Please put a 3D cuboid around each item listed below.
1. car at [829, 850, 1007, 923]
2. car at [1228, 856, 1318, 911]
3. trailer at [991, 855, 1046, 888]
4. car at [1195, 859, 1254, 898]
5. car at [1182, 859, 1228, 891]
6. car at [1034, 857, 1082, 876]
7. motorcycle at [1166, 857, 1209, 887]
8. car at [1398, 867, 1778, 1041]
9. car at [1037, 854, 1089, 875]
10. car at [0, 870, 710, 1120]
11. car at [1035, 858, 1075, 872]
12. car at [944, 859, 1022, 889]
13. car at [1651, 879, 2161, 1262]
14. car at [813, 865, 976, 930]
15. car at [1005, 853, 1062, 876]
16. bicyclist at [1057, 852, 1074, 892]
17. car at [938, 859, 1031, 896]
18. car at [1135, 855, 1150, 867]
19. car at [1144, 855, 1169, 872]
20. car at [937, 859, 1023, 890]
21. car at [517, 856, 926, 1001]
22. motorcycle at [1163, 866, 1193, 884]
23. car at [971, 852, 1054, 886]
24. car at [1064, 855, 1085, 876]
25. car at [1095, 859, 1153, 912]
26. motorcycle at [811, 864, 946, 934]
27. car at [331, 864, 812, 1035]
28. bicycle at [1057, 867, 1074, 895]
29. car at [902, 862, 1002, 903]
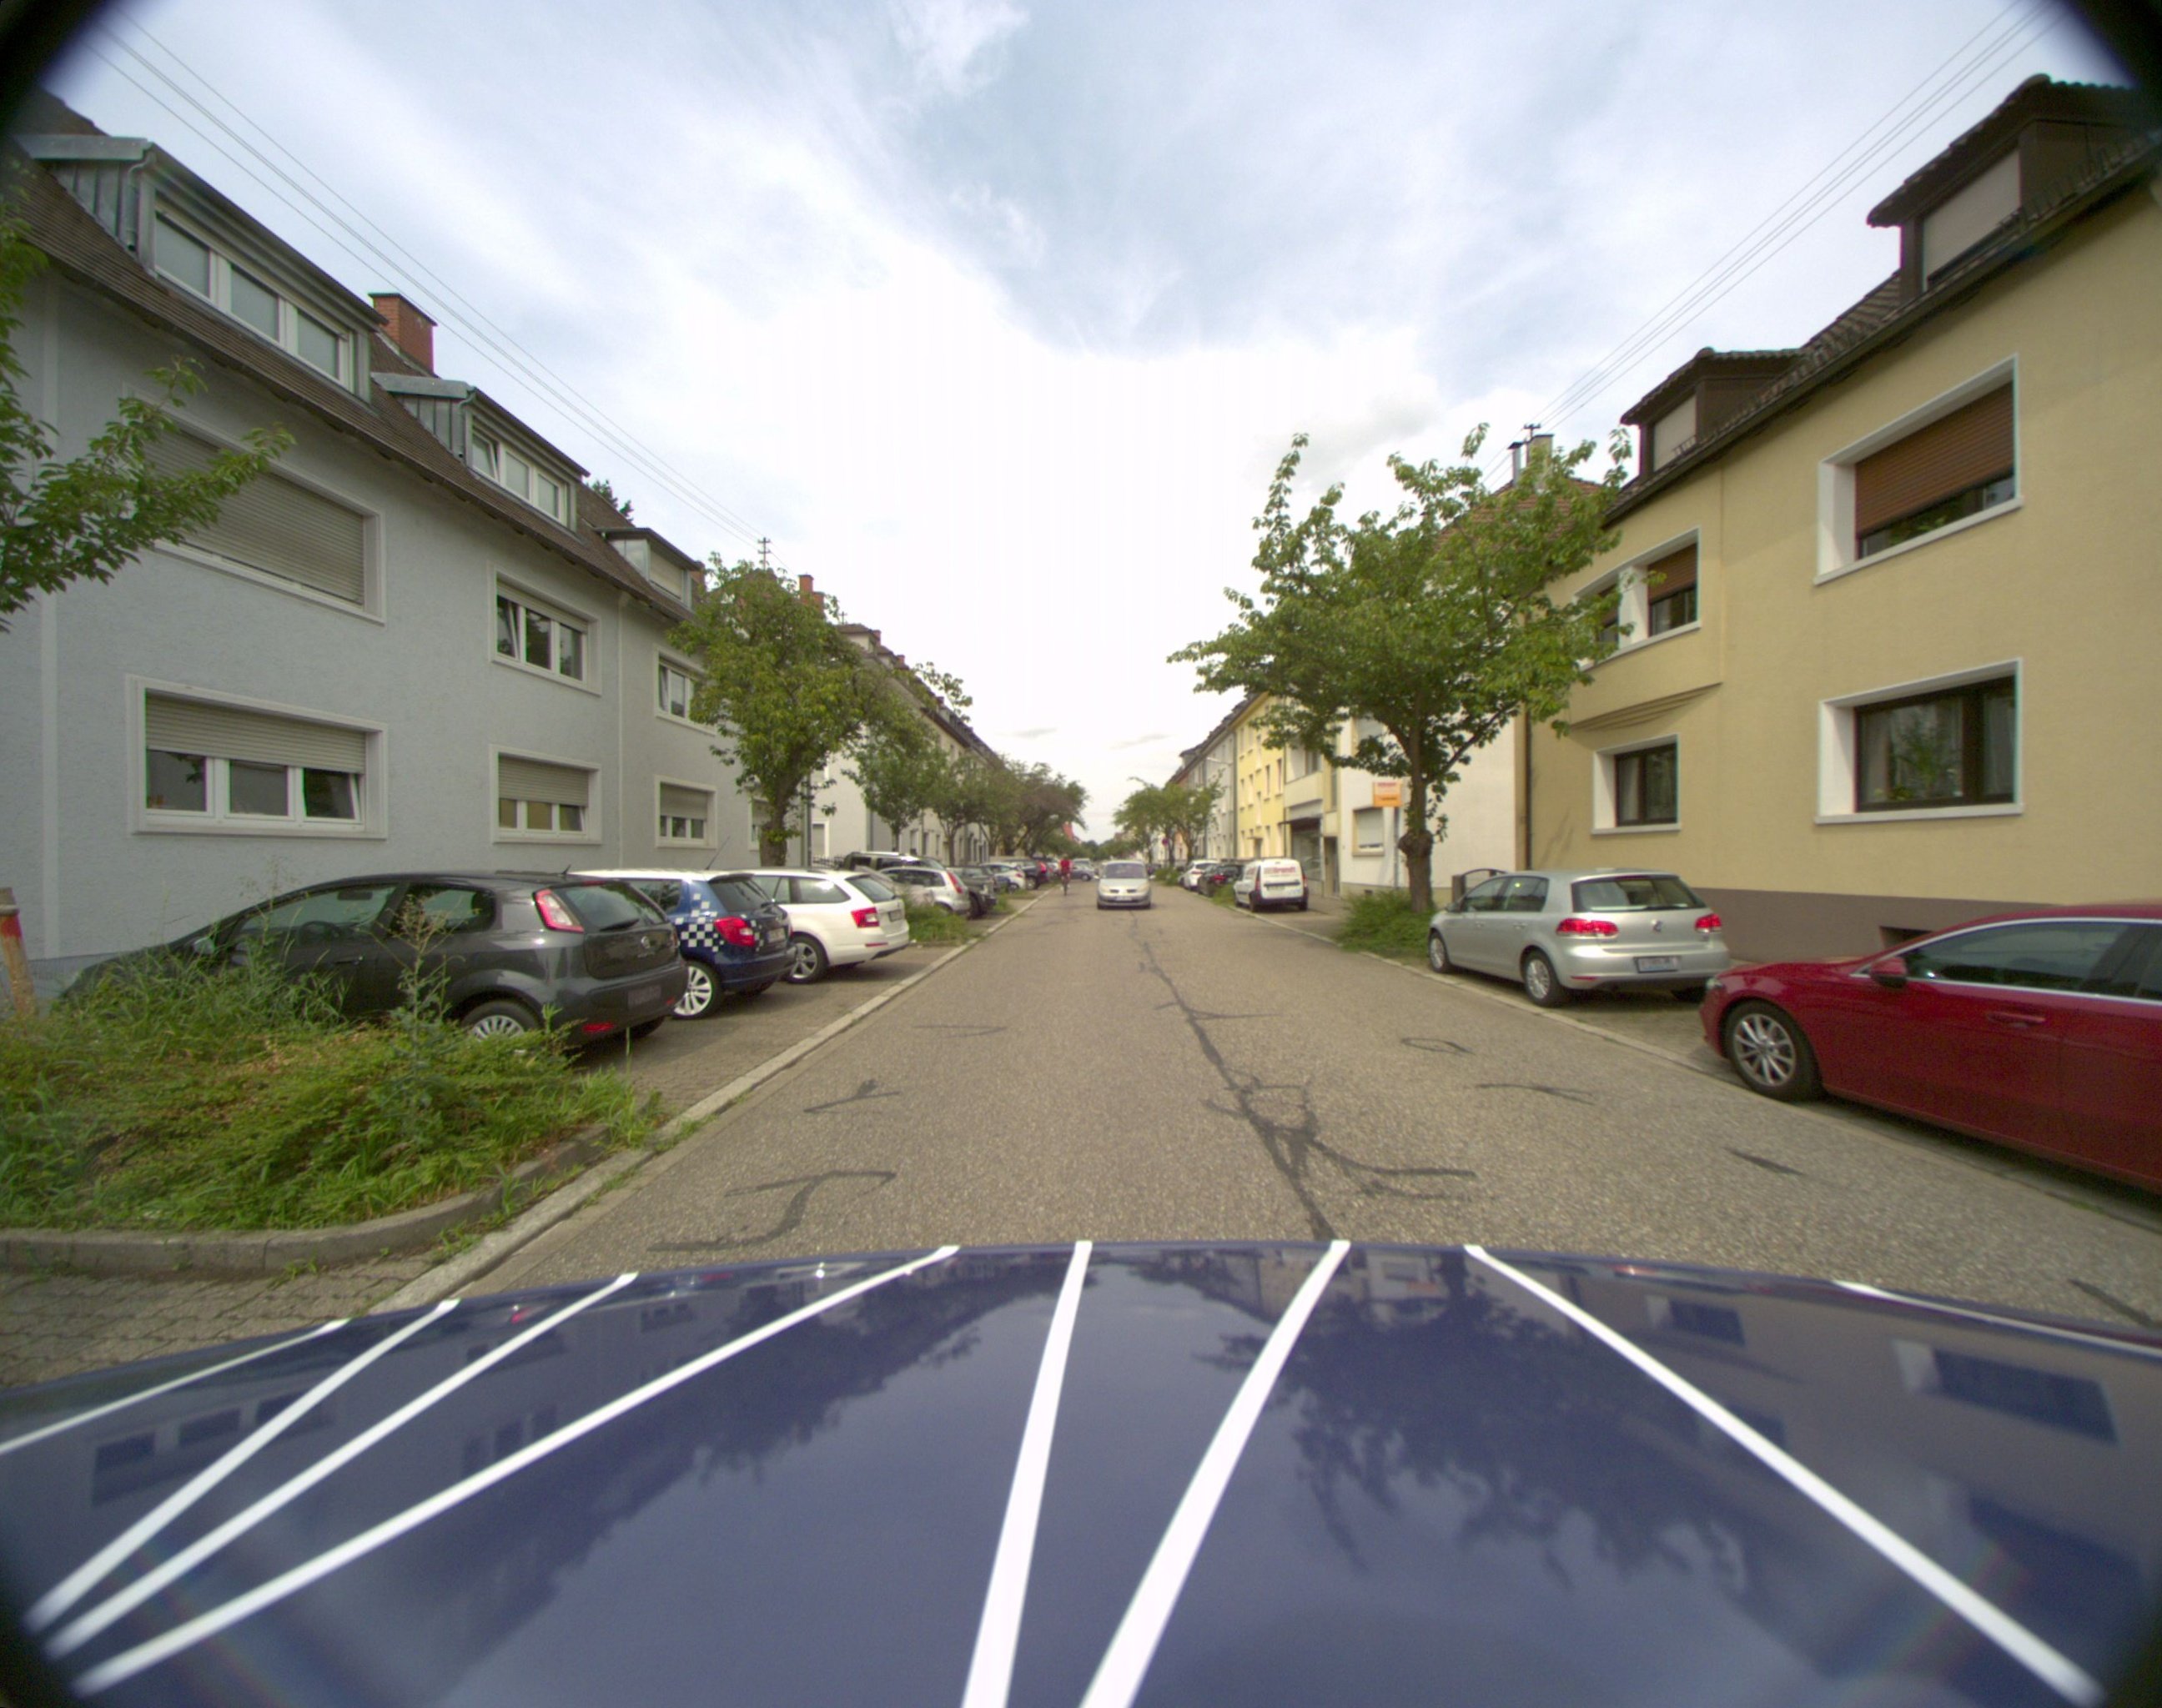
[{"bbox_3d":[-4.512,0.873,21.434,4.535,1.847,1.793,1,0,4],"label":"car"},{"bbox_3d":[6.172,0.885,24.930,1.923,1.572,4.382,1,0,2],"label":"car"},{"bbox_3d":[-3.637,0.991,44.458,2.967,1.820,1.401,1,0,5],"label":"trailer"},{"bbox_3d":[6.146,0.998,33.018,1.795,1.483,4.812,-1,0,2],"label":"car"},{"bbox_3d":[6.387,1.047,39.465,1.761,1.547,4.256,0,0,1],"label":"car"},{"bbox_3d":[-1.921,1.046,64.206,3.997,1.527,1.638,1,0,1],"label":"car"},{"bbox_3d":[6.154,1.031,43.954,0.941,1.666,2.467,1,-1,-42],"label":"motorcycle"},{"bbox_3d":[5.632,0.976,9.250,1.776,1.384,4.275,-6,0,2],"label":"car"},{"bbox_3d":[-1.913,1.083,78.788,5.243,2.011,2.073,1,0,-3],"label":"car"},{"bbox_3d":[-5.300,0.941,5.868,3.996,1.499,1.712,1,0,1],"label":"car"},{"bbox_3d":[-2.999,1.302,88.218,4.558,1.501,1.850,1,0,-1],"label":"car"},{"bbox_3d":[-5.065,1.013,39.582,3.756,1.433,1.865,1,0,2],"label":"car"},{"bbox_3d":[5.394,0.955,3.706,1.881,1.477,4.512,1,0,1],"label":"car"},{"bbox_3d":[-4.544,1.047,18.939,3.635,1.446,1.772,1,0,-2],"label":"car"},{"bbox_3d":[-3.688,0.818,59.813,4.224,1.668,1.904,1,0,4],"label":"car"},{"bbox_3d":[-0.708,0.818,35.022,0.694,1.760,0.986,-1,0,1],"label":"bicyclist"},{"bbox_3d":[-4.343,1.043,34.639,3.997,1.521,1.768,1,0,-1],"label":"car"},{"bbox_3d":[8.566,0.929,106.005,1.697,1.573,4.249,-1,0,0],"label":"car"},{"bbox_3d":[7.295,0.914,73.815,1.841,1.475,4.120,-3,0,0],"label":"car"},{"bbox_3d":[-4.905,1.001,37.410,3.997,1.402,1.768,1,0,-1],"label":"car"},{"bbox_3d":[-4.647,0.912,10.300,4.625,1.654,1.893,1,0,2],"label":"car"},{"bbox_3d":[6.524,1.413,51.115,1.914,1.185,0.595,1,1,-25],"label":"motorcycle"},{"bbox_3d":[-3.737,0.817,41.907,4.224,1.725,1.904,1,0,4],"label":"car"},{"bbox_3d":[-0.638,1.086,74.492,1.999,1.903,4.703,-2,0,0],"label":"car"},{"bbox_3d":[1.366,0.982,25.738,1.788,1.595,4.836,0,0,1],"label":"car"},{"bbox_3d":[-4.436,0.975,16.831,2.708,1.455,1.031,0,0,-2],"label":"motorcycle"},{"bbox_3d":[-5.201,0.922,8.135,3.996,1.499,1.712,1,0,1],"label":"car"},{"bbox_3d":[-0.694,1.214,35.123,0.693,1.220,1.937,-1,0,1],"label":"bicycle"},{"bbox_3d":[-5.014,1.109,29.798,3.552,1.444,1.809,1,0,1],"label":"car"}]
